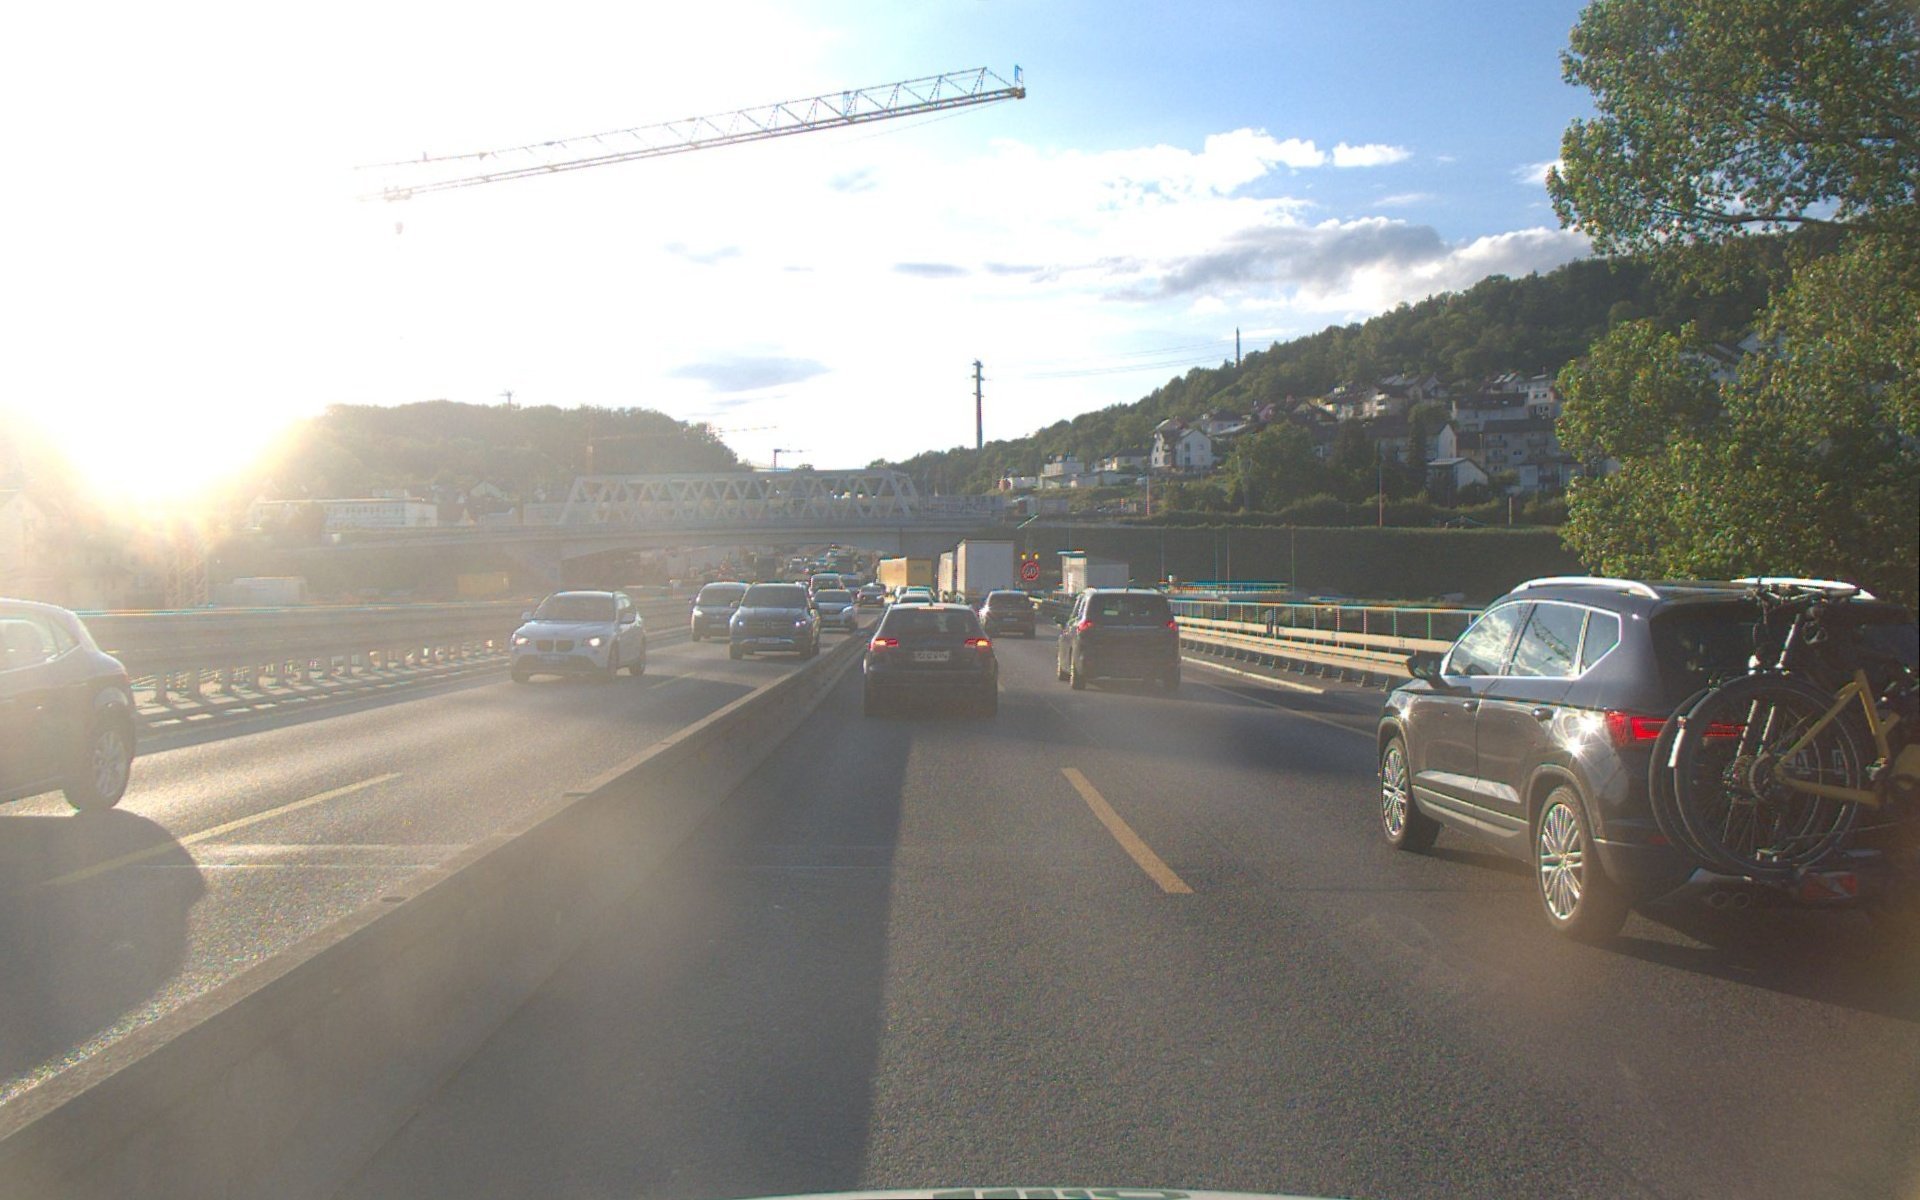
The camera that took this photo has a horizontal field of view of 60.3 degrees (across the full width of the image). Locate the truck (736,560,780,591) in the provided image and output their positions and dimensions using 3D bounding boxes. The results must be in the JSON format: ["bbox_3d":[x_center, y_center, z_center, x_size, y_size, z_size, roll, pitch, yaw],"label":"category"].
[{"bbox_3d":[-26.465,-3.242,216.408,2.893,3.958,10.185,0,1,-24],"label":"truck"}]

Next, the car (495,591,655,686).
[{"bbox_3d":[-6.782,0.627,29.583,1.890,1.573,4.288,1,0,-1],"label":"car"}]

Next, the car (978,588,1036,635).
[{"bbox_3d":[1.631,0.377,58.683,1.734,1.579,3.998,1,1,-3],"label":"car"}]

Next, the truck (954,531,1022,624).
[{"bbox_3d":[1.392,-1.200,89.806,3.316,4.577,15.266,1,1,0],"label":"truck"}]

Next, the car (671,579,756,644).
[{"bbox_3d":[-7.785,0.345,52.595,1.953,1.888,4.282,3,0,0],"label":"car"}]

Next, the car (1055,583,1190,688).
[{"bbox_3d":[2.719,0.544,28.510,1.778,1.661,4.410,0,1,-2],"label":"car"}]

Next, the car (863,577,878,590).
[{"bbox_3d":[-10.562,-1.925,195.372,1.757,1.566,4.364,0,1,-4],"label":"car"}]

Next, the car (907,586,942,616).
[{"bbox_3d":[-1.851,0.025,86.708,1.729,1.512,4.000,1,1,0],"label":"car"}]

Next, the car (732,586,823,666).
[{"bbox_3d":[-4.321,0.580,39.756,1.890,1.784,4.670,0,0,-3],"label":"car"}]

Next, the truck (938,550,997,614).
[{"bbox_3d":[0.458,-1.372,128.757,3.812,4.577,15.259,1,0,-2],"label":"truck"}]

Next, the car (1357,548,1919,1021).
[{"bbox_3d":[3.565,0.616,8.218,1.837,1.627,4.964,0,0,-2],"label":"car"}]

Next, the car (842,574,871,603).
[{"bbox_3d":[-9.309,-1.044,148.214,2.035,2.501,6.254,1,1,-9],"label":"car"}]

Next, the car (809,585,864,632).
[{"bbox_3d":[-4.718,0.305,63.552,1.801,1.668,3.999,-2,0,-1],"label":"car"}]

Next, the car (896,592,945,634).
[{"bbox_3d":[-1.564,0.471,64.075,1.730,1.512,3.998,1,1,-3],"label":"car"}]

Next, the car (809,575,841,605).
[{"bbox_3d":[-8.588,-0.640,105.342,1.890,1.895,4.141,0,0,-3],"label":"car"}]

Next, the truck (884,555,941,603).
[{"bbox_3d":[-4.889,-2.189,165.891,3.819,4.576,13.818,0,2,-10],"label":"truck"}]

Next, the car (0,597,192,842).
[{"bbox_3d":[-6.552,0.708,10.102,1.739,1.429,4.308,1,0,-1],"label":"car"}]

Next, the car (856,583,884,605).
[{"bbox_3d":[-6.603,-0.431,121.109,1.954,1.557,5.777,0,0,-4],"label":"car"}]

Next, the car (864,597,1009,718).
[{"bbox_3d":[-0.369,0.696,21.960,1.734,1.414,3.998,0,1,-3],"label":"car"}]
